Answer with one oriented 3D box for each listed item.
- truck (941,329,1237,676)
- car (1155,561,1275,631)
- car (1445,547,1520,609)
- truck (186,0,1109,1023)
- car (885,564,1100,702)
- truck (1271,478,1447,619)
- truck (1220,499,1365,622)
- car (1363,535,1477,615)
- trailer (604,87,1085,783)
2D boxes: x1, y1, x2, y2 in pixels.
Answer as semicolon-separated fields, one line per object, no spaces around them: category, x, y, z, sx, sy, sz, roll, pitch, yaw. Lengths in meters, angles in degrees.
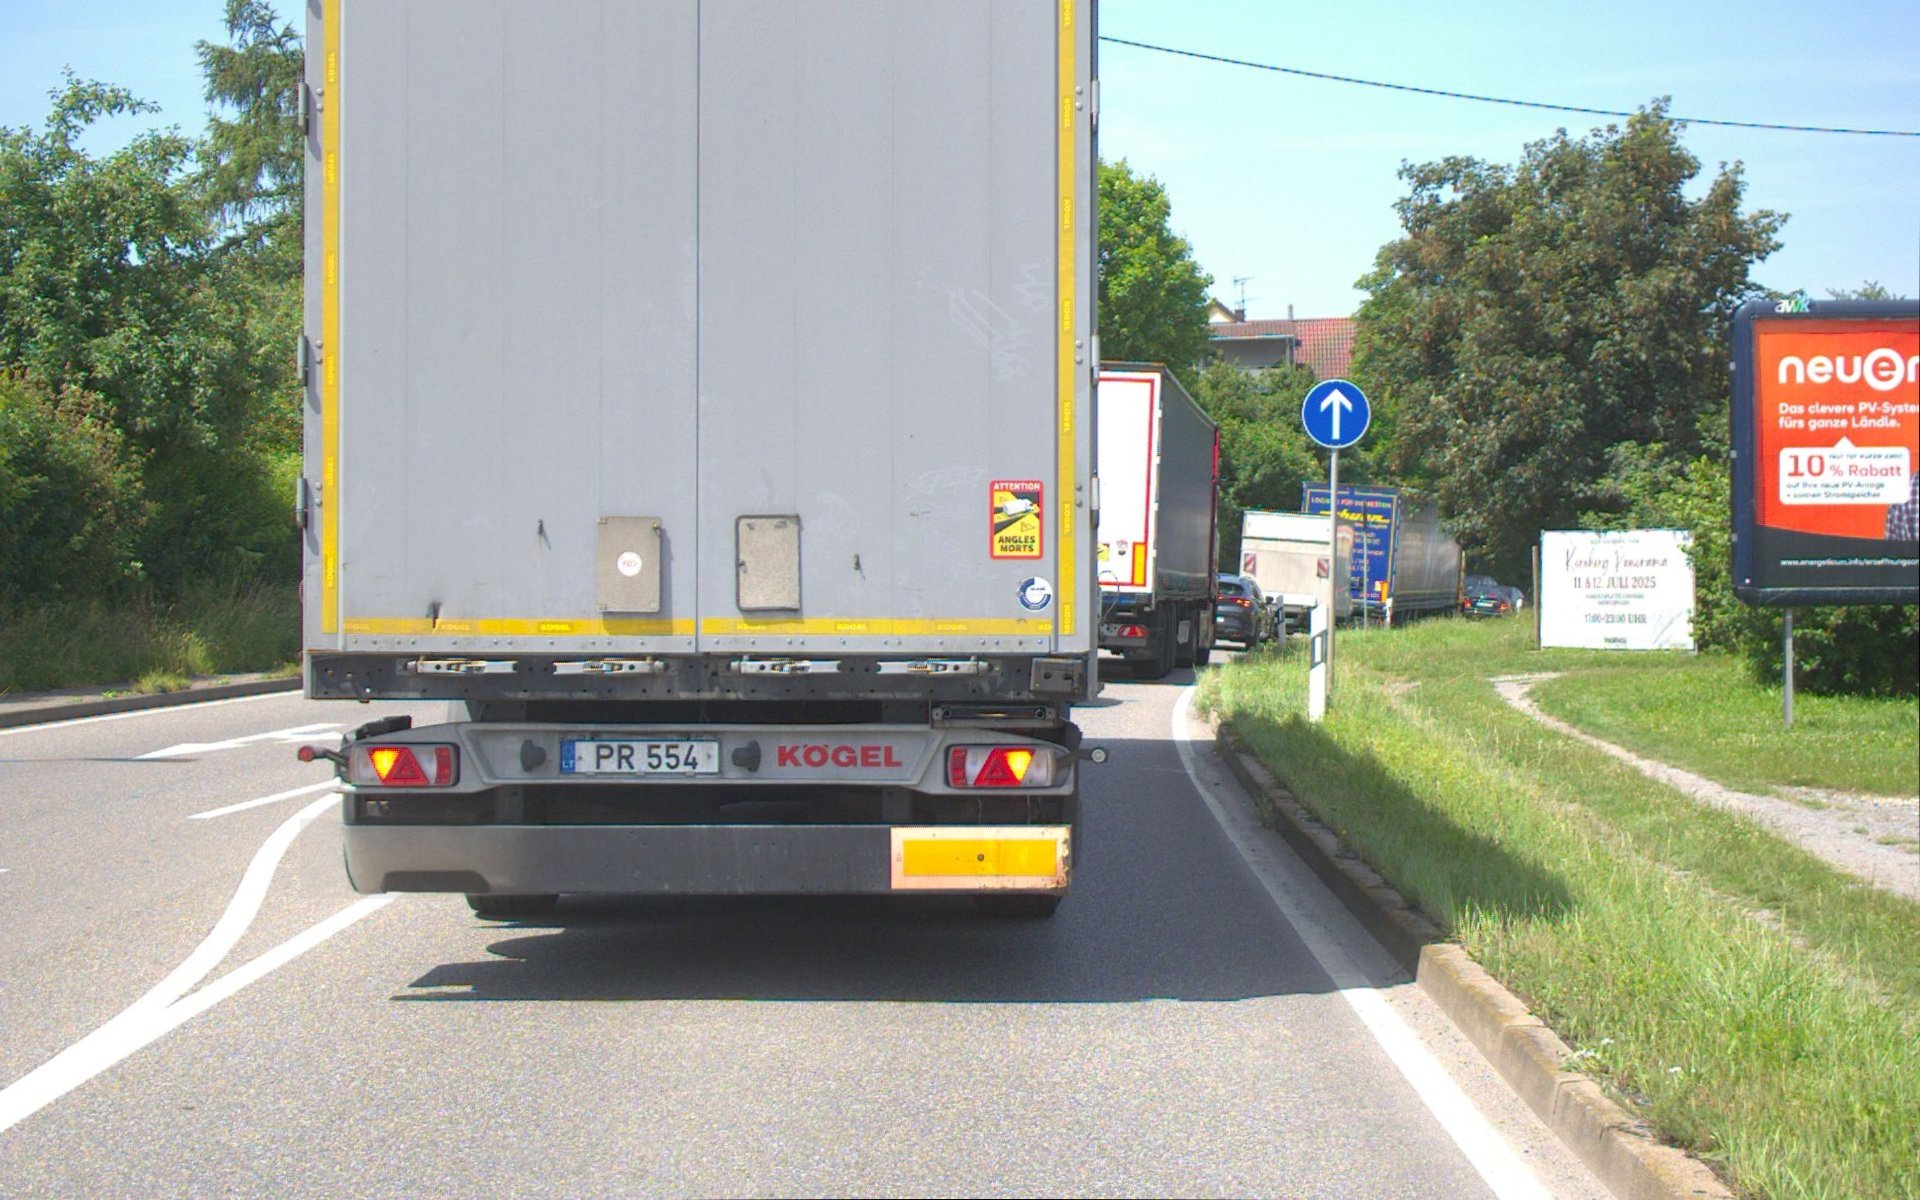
truck;2.248;-1.238;50.887;2.761;4.274;16.410;1;0;8
car;5.313;-0.088;71.286;1.994;1.371;3.998;1;0;11
car;17.488;-0.734;114.952;1.995;2.007;3.997;1;0;15
truck;-0.801;-0.892;16.328;2.822;4.113;11.443;1;1;2
car;0.395;0.322;36.047;1.819;1.342;3.846;1;0;7
truck;10.920;-1.430;93.237;3.435;3.592;9.348;1;1;15
truck;7.978;-0.915;81.937;2.545;2.793;6.028;1;0;14
car;13.749;-0.777;102.368;2.533;2.269;6.377;1;1;15
trailer;-0.584;-1.043;23.578;2.825;4.097;6.544;0;1;2
